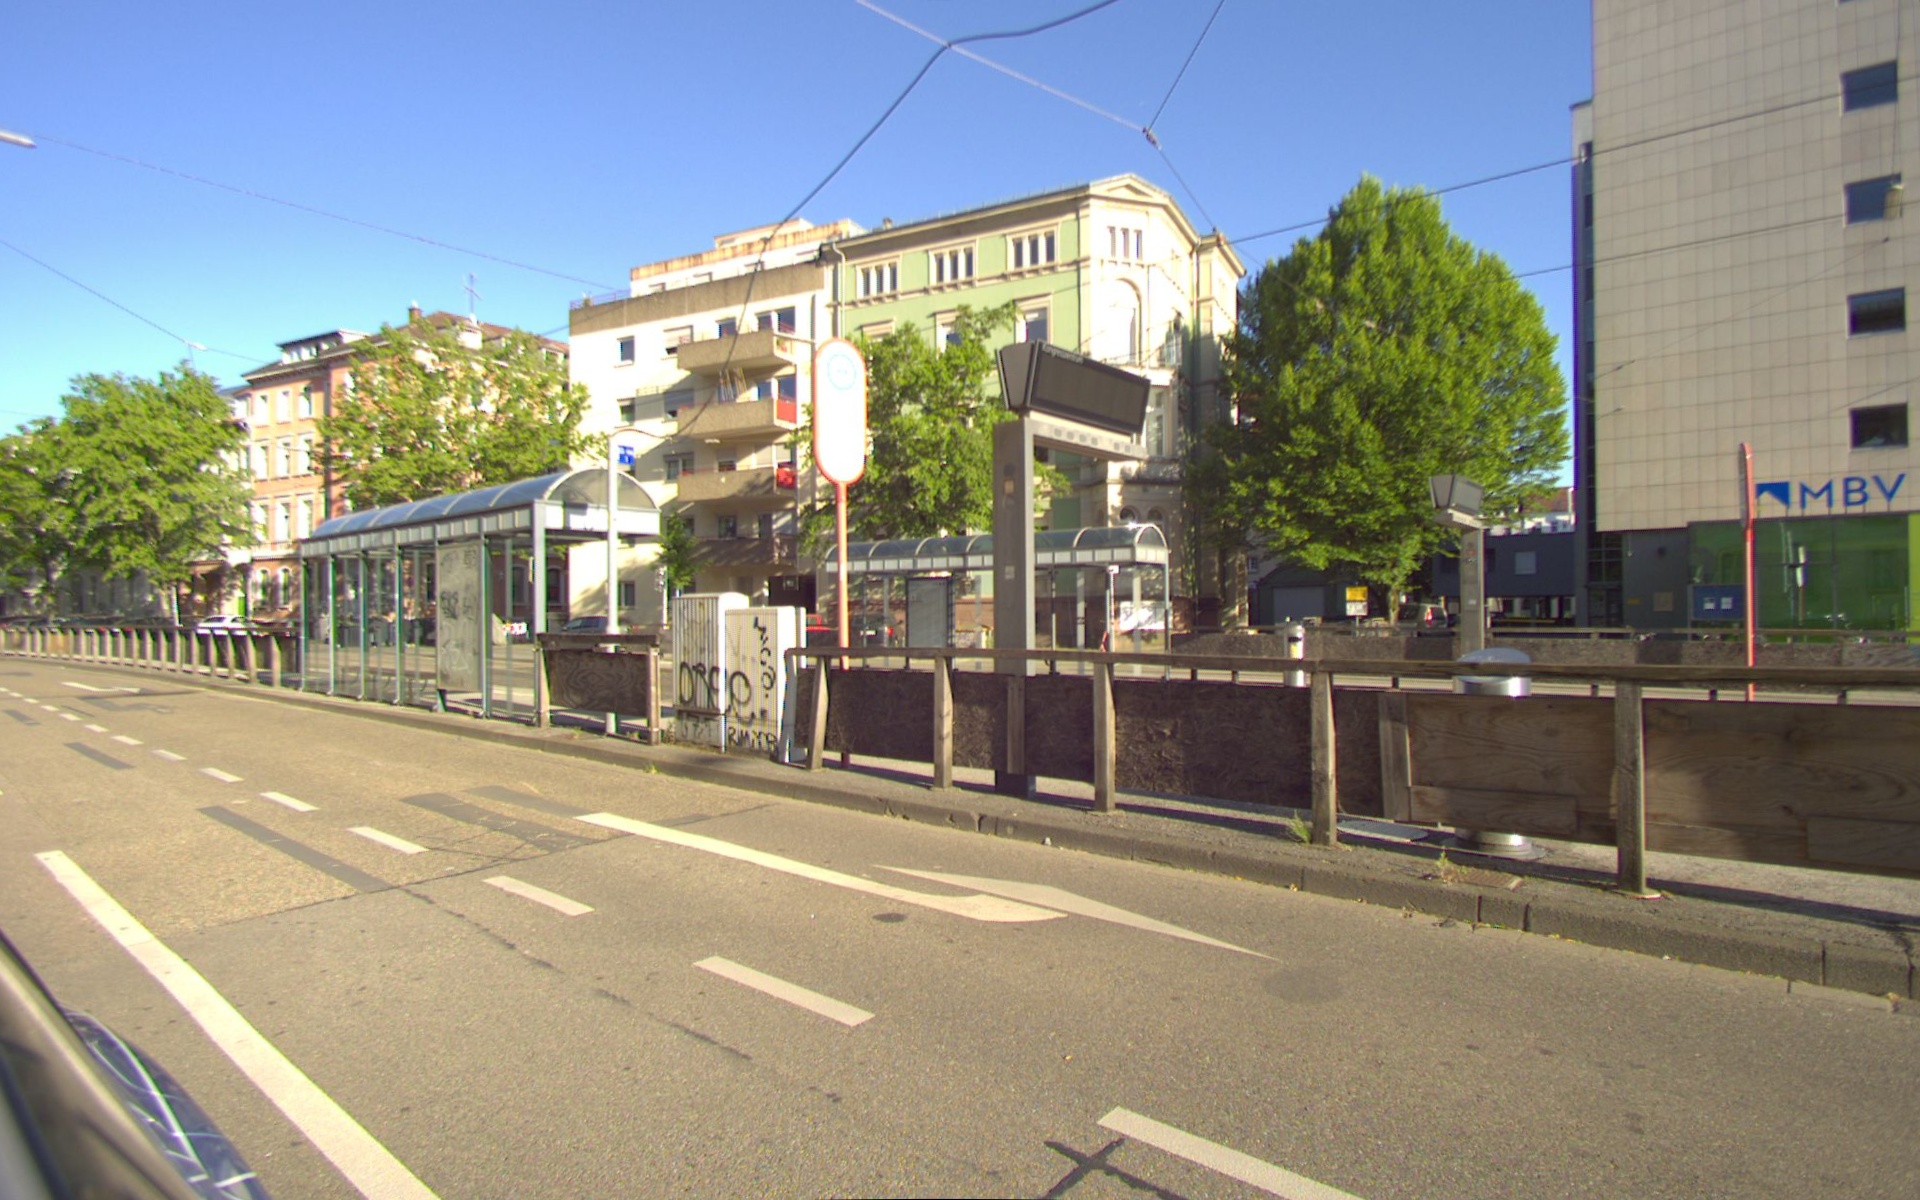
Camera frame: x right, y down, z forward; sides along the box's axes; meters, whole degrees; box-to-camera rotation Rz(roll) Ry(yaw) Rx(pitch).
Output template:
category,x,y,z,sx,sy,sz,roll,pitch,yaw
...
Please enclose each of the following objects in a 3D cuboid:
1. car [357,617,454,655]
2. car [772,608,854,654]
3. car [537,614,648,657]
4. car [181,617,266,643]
category,x,y,z,sx,sy,sz,roll,pitch,yaw
car,-23.908,1.526,43.614,3.987,1.541,1.978,-1,-2,32
car,-6.672,1.400,46.253,1.791,2.029,3.963,-1,-1,27
car,-14.073,1.358,38.703,3.987,1.542,1.978,-1,-3,32
car,-39.248,1.577,54.025,1.565,1.360,3.631,0,-1,11
